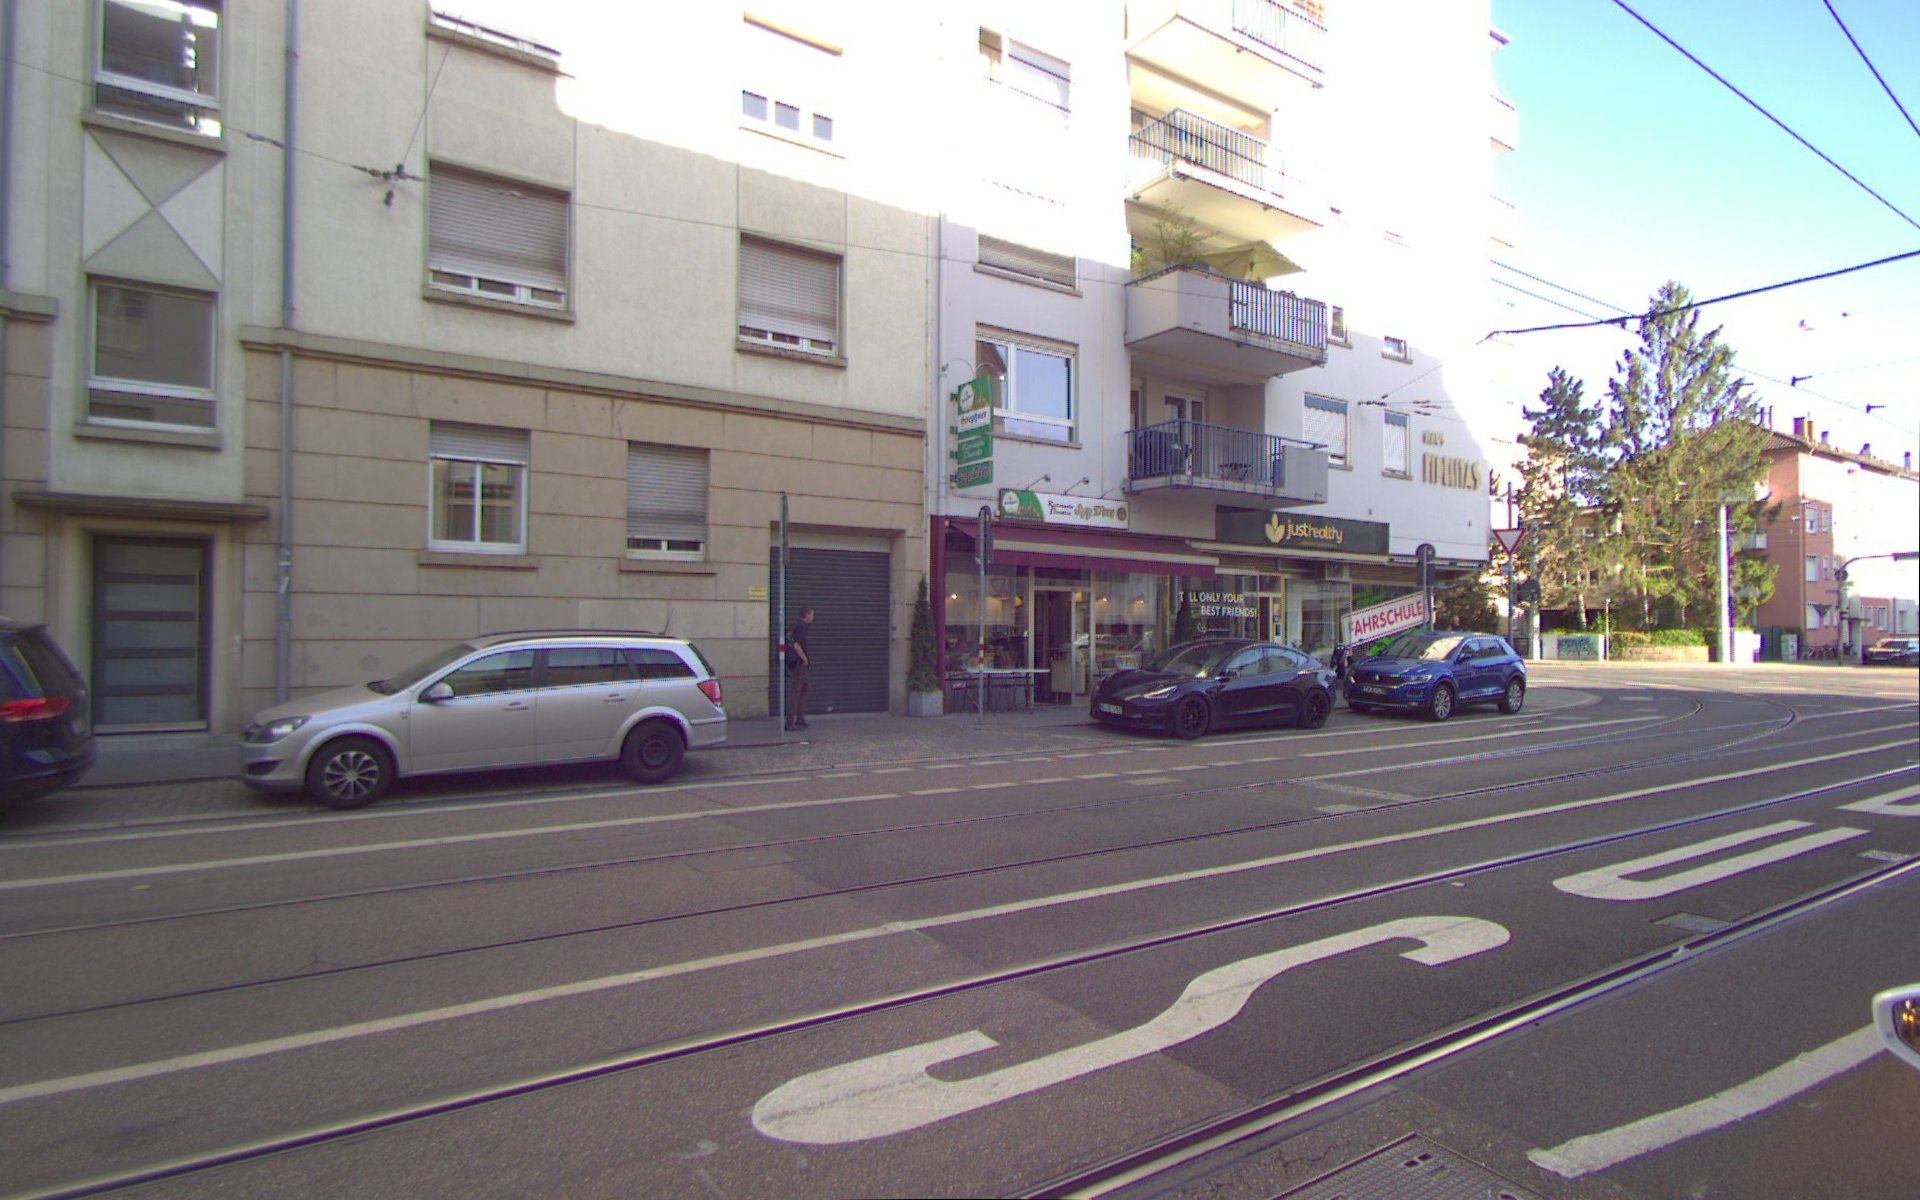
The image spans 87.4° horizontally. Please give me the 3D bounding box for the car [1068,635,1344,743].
[{"bbox_3d":[4.000,1.313,16.036,4.442,1.422,1.714,1,1,-34],"label":"car"}]

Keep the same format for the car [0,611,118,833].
[{"bbox_3d":[-9.007,0.877,7.186,4.343,1.620,1.785,1,-1,-34],"label":"car"}]

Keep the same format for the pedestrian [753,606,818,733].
[{"bbox_3d":[-2.458,0.967,14.157,0.722,1.731,0.600,1,-2,-32],"label":"pedestrian"}]

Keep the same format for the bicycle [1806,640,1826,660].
[{"bbox_3d":[47.168,2.734,55.333,1.895,1.097,0.532,2,-2,-41],"label":"bicycle"}]

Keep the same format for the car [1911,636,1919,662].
[{"bbox_3d":[58.118,2.898,59.444,3.961,1.539,1.938,1,-2,-36],"label":"car"}]

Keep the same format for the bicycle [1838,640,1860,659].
[{"bbox_3d":[53.147,2.937,60.018,1.892,1.097,0.605,1,-2,-37],"label":"bicycle"}]

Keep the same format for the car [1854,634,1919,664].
[{"bbox_3d":[49.715,2.616,53.776,3.961,1.539,1.938,1,-2,-36],"label":"car"}]

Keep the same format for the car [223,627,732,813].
[{"bbox_3d":[-4.720,1.047,10.208,4.343,1.497,1.785,1,-1,-34],"label":"car"}]

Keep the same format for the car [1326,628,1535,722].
[{"bbox_3d":[8.979,1.344,19.078,4.072,1.525,1.714,1,1,-34],"label":"car"}]

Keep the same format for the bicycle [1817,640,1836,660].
[{"bbox_3d":[47.595,2.746,55.158,1.895,1.097,0.532,2,-2,-41],"label":"bicycle"}]

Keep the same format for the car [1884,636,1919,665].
[{"bbox_3d":[54.263,2.840,57.005,4.006,1.539,1.938,1,-2,-36],"label":"car"}]

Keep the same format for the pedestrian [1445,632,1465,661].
[{"bbox_3d":[29.873,2.799,60.610,0.672,1.725,0.805,1,-2,-30],"label":"pedestrian"}]

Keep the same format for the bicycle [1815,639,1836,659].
[{"bbox_3d":[50.731,2.860,58.874,1.892,1.097,0.533,1,-2,-37],"label":"bicycle"}]

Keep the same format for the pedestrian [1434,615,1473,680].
[{"bbox_3d":[14.168,1.356,28.823,0.707,1.859,0.771,0,-1,-3],"label":"pedestrian"}]

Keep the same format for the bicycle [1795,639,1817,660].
[{"bbox_3d":[46.872,2.724,55.625,1.895,1.097,0.634,2,-2,-41],"label":"bicycle"}]
